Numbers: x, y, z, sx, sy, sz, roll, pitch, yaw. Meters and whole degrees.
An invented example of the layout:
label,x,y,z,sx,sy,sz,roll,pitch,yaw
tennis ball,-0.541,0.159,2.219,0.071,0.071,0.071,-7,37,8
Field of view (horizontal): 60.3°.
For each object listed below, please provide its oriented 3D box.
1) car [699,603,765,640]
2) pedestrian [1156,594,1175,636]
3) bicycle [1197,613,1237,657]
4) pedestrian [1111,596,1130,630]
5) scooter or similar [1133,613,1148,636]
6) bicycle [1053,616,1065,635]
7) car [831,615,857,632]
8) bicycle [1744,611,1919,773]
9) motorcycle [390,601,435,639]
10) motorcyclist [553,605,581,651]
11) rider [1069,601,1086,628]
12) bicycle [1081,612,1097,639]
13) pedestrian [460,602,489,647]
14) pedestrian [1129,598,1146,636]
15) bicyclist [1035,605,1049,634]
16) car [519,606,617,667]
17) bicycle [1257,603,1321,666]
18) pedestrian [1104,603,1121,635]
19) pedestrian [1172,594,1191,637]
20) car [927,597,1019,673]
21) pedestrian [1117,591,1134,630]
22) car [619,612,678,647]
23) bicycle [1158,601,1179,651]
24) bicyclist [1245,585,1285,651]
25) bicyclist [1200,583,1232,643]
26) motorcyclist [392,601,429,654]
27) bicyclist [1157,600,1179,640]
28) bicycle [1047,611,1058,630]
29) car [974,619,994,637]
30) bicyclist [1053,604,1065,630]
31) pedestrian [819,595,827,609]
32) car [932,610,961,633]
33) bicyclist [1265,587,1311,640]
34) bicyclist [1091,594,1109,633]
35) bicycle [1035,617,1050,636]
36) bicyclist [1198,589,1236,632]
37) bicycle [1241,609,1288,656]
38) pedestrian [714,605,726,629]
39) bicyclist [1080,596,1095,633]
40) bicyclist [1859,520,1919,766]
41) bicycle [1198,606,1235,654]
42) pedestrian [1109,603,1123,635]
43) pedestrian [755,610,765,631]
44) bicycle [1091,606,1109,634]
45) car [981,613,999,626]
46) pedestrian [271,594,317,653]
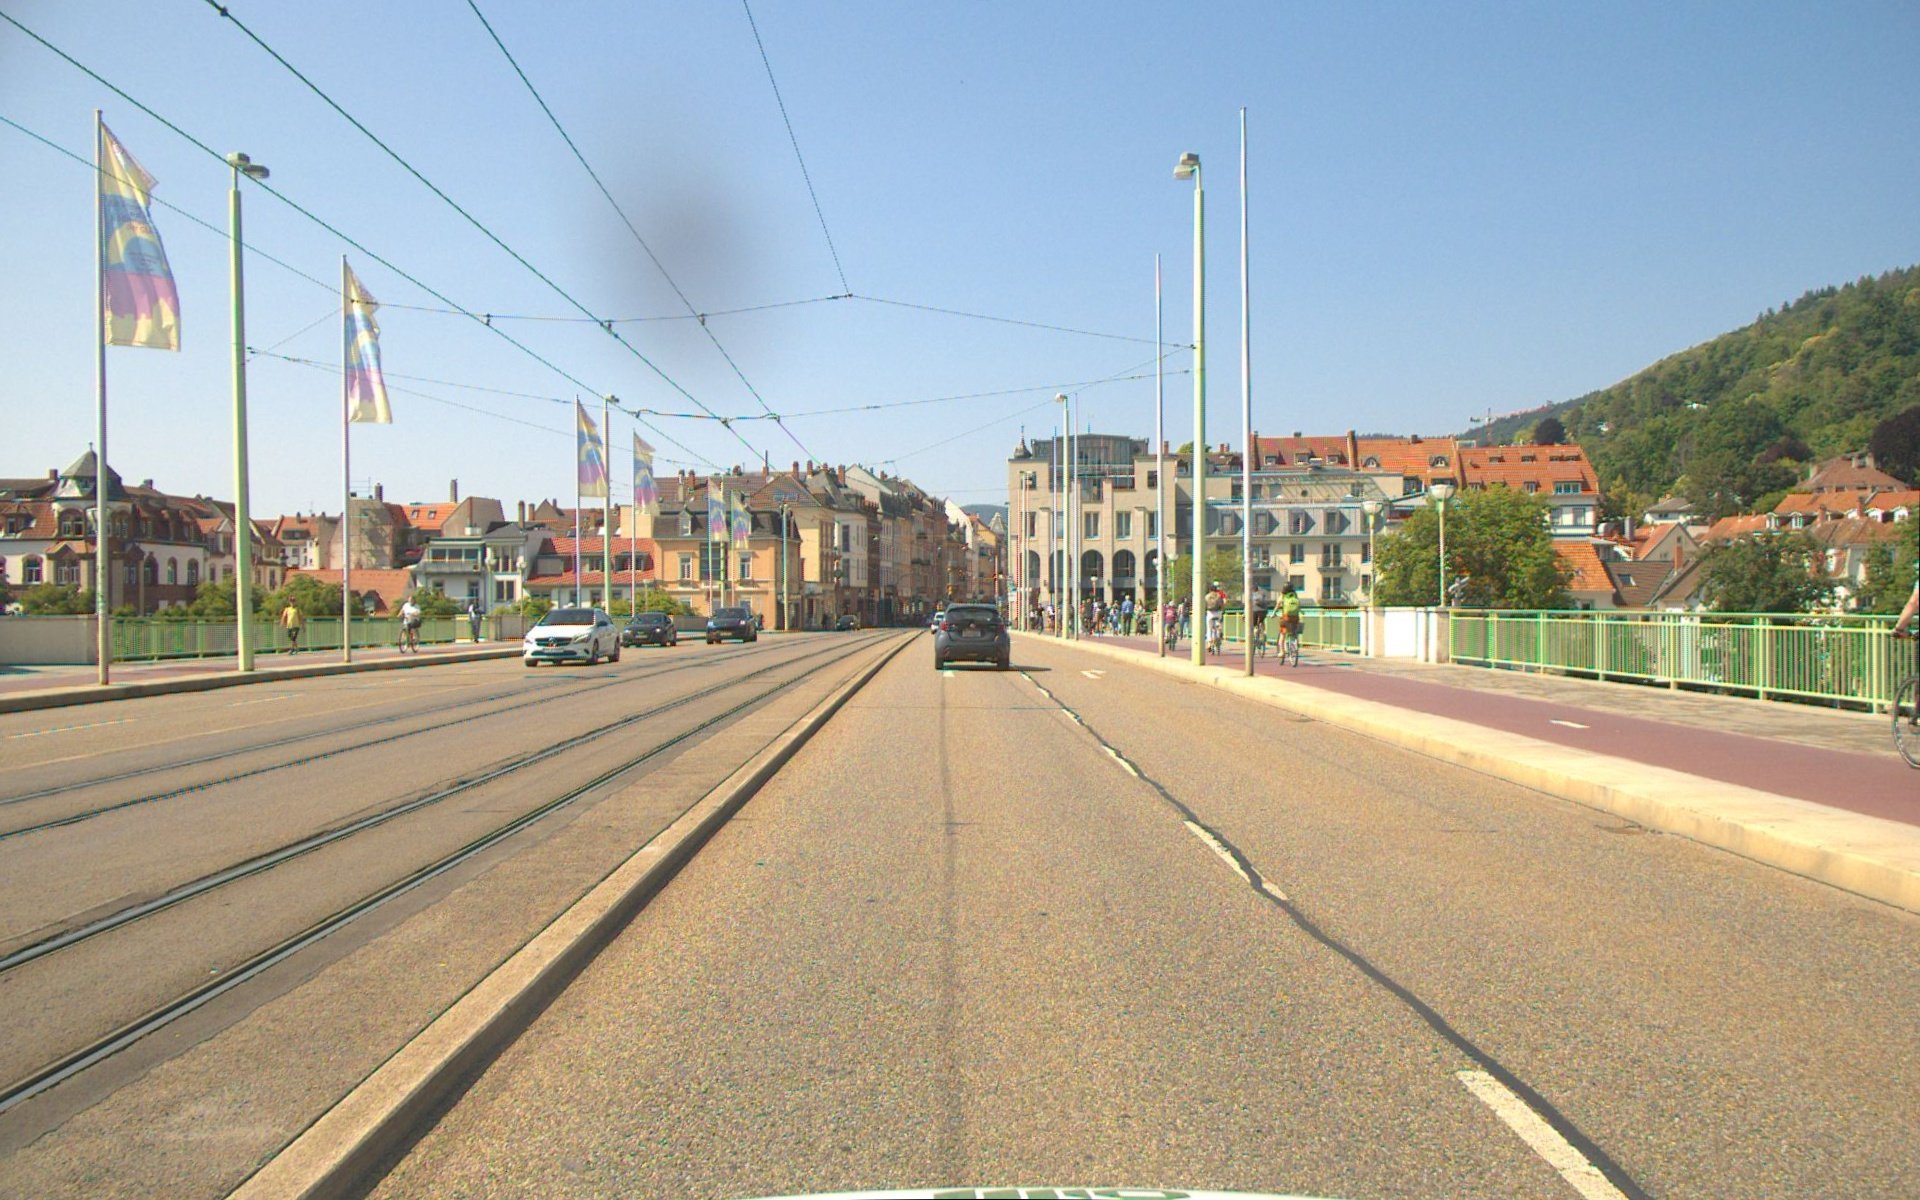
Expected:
label,x,y,z,sx,sy,sz,roll,pitch,yaw
car,-10.247,0.944,74.759,1.951,1.627,4.341,0,0,6
pedestrian,7.861,0.564,63.198,0.587,1.614,0.866,0,0,-3
bicycle,6.368,0.853,41.077,0.606,1.056,2.050,0,0,-2
pedestrian,8.596,0.709,88.656,0.911,1.792,0.937,0,0,-1
scooter or similar,8.527,1.170,78.298,0.576,1.088,0.865,0,0,-3
bicycle,5.978,1.530,99.898,0.652,1.068,2.029,0,0,2
car,-10.983,2.186,156.423,1.952,1.505,4.002,0,0,4
bicycle,7.216,0.669,12.223,0.777,1.115,3.741,-1,0,-5
motorcycle,-16.706,0.593,50.542,0.687,1.129,2.178,0,0,-1
motorcyclist,-13.749,0.971,57.858,0.811,1.601,0.831,0,0,-2
rider,6.671,0.819,94.208,0.871,1.531,0.840,0,0,-2
bicycle,6.038,1.178,77.436,0.515,1.199,2.028,0,0,-2
pedestrian,-19.390,0.977,66.068,0.813,1.752,1.094,0,0,-1
pedestrian,8.497,0.806,79.180,0.629,1.787,0.866,0,0,-3
bicyclist,4.557,1.078,91.971,0.640,1.594,1.337,-2,-1,-3
car,-10.047,0.897,42.675,1.956,1.434,4.540,0,0,-7
bicycle,6.601,0.678,33.273,0.681,1.214,2.077,-1,-1,-5
pedestrian,8.201,1.021,88.842,0.817,1.719,0.869,0,0,-1
pedestrian,8.463,0.580,63.220,0.587,1.614,0.866,0,0,-3
car,0.241,0.767,38.506,1.872,1.567,3.998,-1,1,-3
pedestrian,7.748,0.485,77.629,0.698,1.842,0.848,0,0,-1
car,-13.122,1.213,69.825,1.722,1.386,4.382,0,0,-1
bicycle,5.935,0.728,47.043,0.523,1.391,2.218,0,0,9
bicyclist,7.178,0.420,38.964,0.720,1.527,0.980,0,0,-3
bicyclist,7.213,0.365,46.606,0.720,1.664,0.866,0,0,-3
motorcyclist,-16.777,0.825,50.475,0.784,1.576,1.069,0,0,-1
bicyclist,5.924,0.570,47.127,0.586,1.121,0.853,0,0,9
bicycle,5.886,1.296,105.145,0.652,1.199,2.029,0,0,2
car,2.202,2.505,150.189,1.766,1.494,4.001,-2,0,1
bicyclist,5.969,1.036,99.771,0.638,1.556,0.975,0,0,2
pedestrian,-13.951,0.190,168.957,0.747,1.422,0.663,0,0,1
car,-0.930,1.486,113.817,1.768,1.494,3.997,-2,0,-3
bicyclist,6.608,0.268,33.345,0.653,1.063,0.979,0,0,-5
bicyclist,6.110,0.590,72.238,0.643,1.705,0.868,0,0,-2
bicycle,4.580,1.482,91.904,0.640,0.998,2.177,-2,-1,-3
bicyclist,6.375,0.260,41.089,0.720,1.048,1.175,0,0,-3
bicycle,7.155,0.743,38.944,0.606,1.056,2.265,0,0,-2
pedestrian,-18.219,1.297,125.669,0.747,1.818,0.663,0,0,1
bicyclist,5.963,0.681,77.229,0.615,1.719,0.868,0,0,-2
bicyclist,7.219,0.304,12.027,0.660,1.774,1.149,-1,0,-5
bicycle,7.211,0.827,46.530,0.606,1.293,2.215,0,0,-2
pedestrian,7.387,0.881,78.341,0.601,1.491,0.848,0,0,-1
pedestrian,-16.738,1.712,138.208,0.747,1.694,0.663,0,0,1
bicycle,6.115,0.861,72.280,0.581,1.199,1.939,0,0,-2
car,3.450,2.185,189.285,1.838,1.434,4.002,0,0,4
pedestrian,-19.300,0.679,47.931,0.880,1.687,1.029,0,0,1
